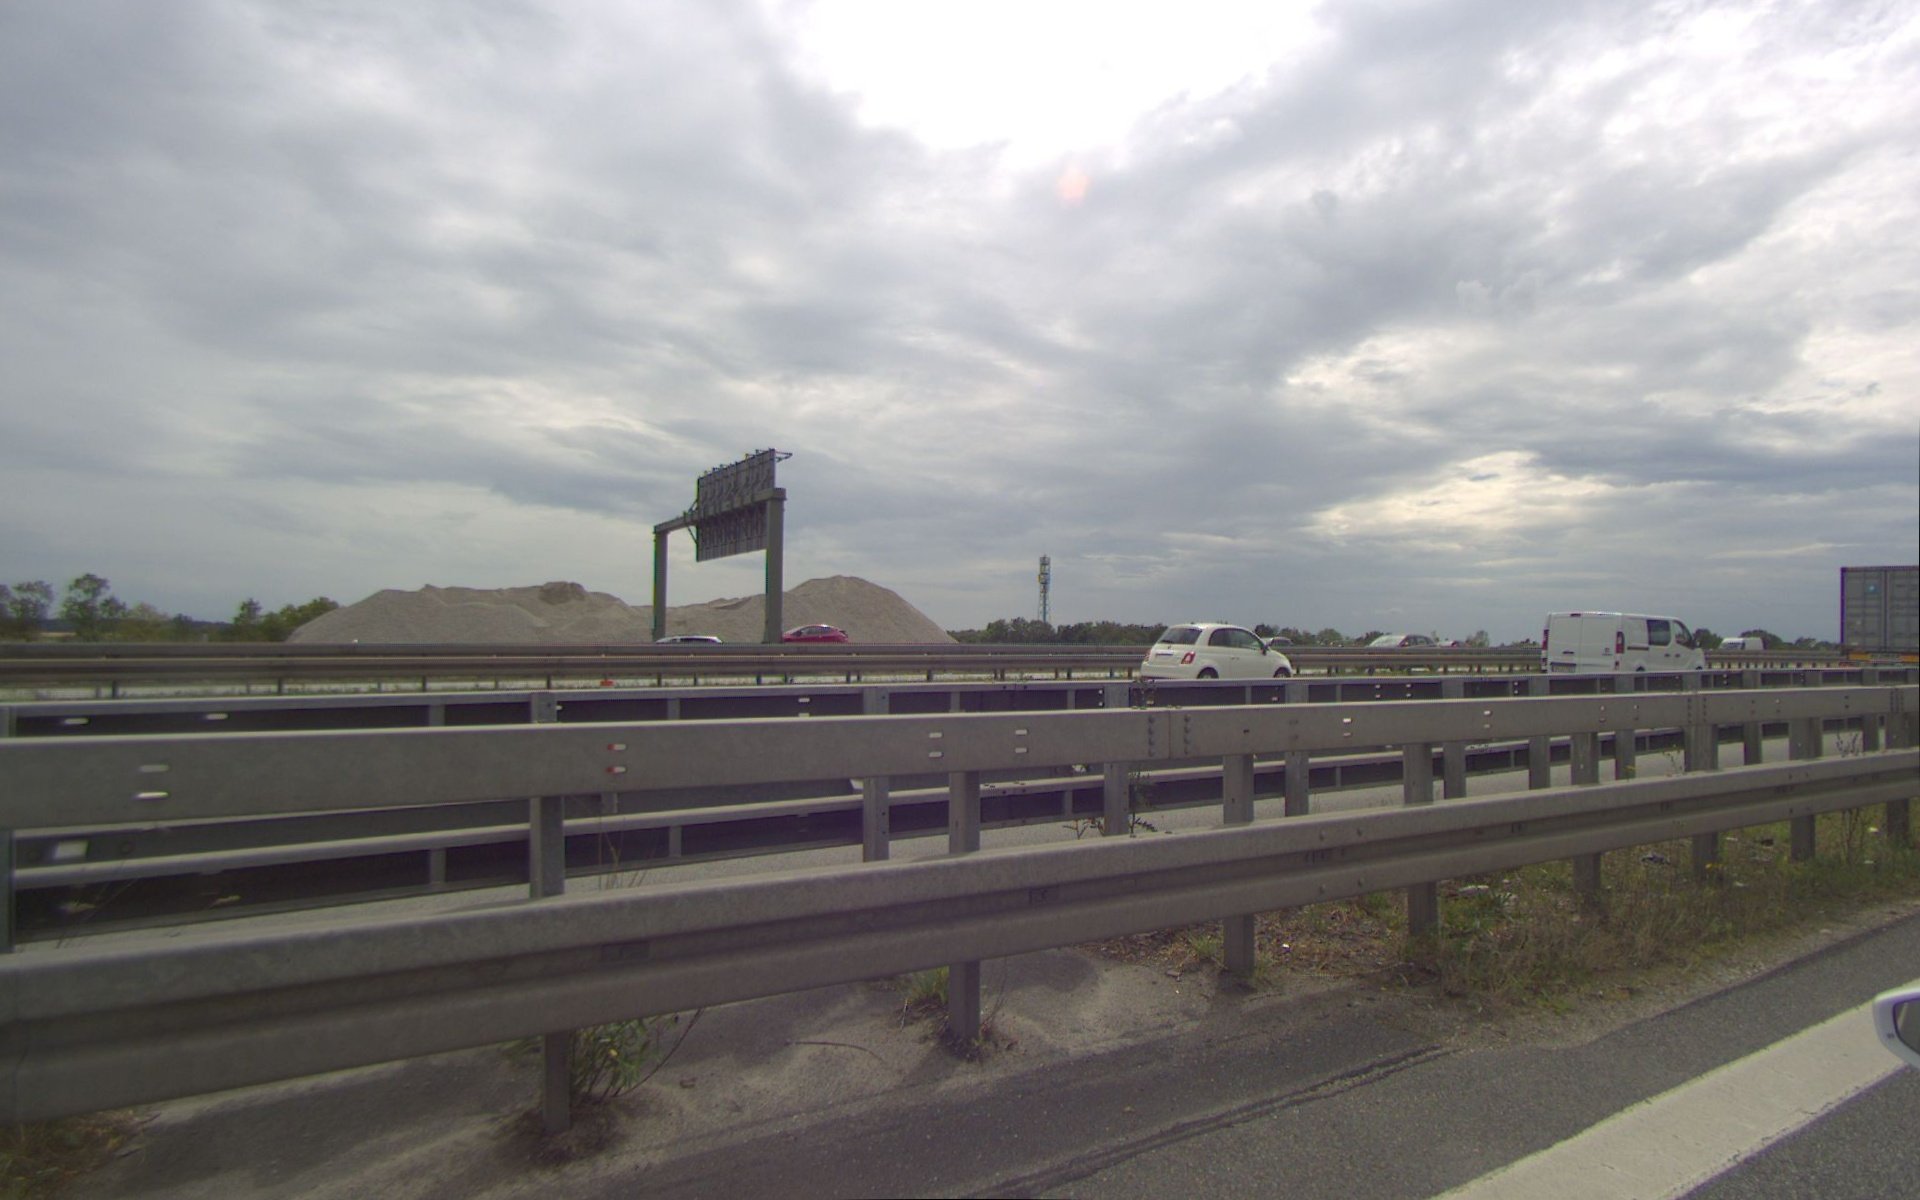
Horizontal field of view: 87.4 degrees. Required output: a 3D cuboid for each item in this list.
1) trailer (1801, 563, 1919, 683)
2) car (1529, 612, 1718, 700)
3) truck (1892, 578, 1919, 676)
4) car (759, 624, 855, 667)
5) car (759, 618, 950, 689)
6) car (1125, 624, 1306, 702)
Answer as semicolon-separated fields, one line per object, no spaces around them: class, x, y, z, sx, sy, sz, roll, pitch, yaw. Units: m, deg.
trailer;36.032;0.929;37.863;12.247;3.976;3.217;2;-1;-33
car;16.360;1.336;24.701;5.076;1.963;1.989;2;-2;-32
truck;41.864;1.156;41.640;6.538;3.963;3.228;2;-1;-33
car;-7.133;2.126;46.813;3.958;1.873;1.982;2;-1;-33
car;-2.719;1.367;26.328;4.585;1.684;1.982;2;-1;-34
car;5.403;1.306;21.146;3.736;1.504;1.670;2;-3;-34
